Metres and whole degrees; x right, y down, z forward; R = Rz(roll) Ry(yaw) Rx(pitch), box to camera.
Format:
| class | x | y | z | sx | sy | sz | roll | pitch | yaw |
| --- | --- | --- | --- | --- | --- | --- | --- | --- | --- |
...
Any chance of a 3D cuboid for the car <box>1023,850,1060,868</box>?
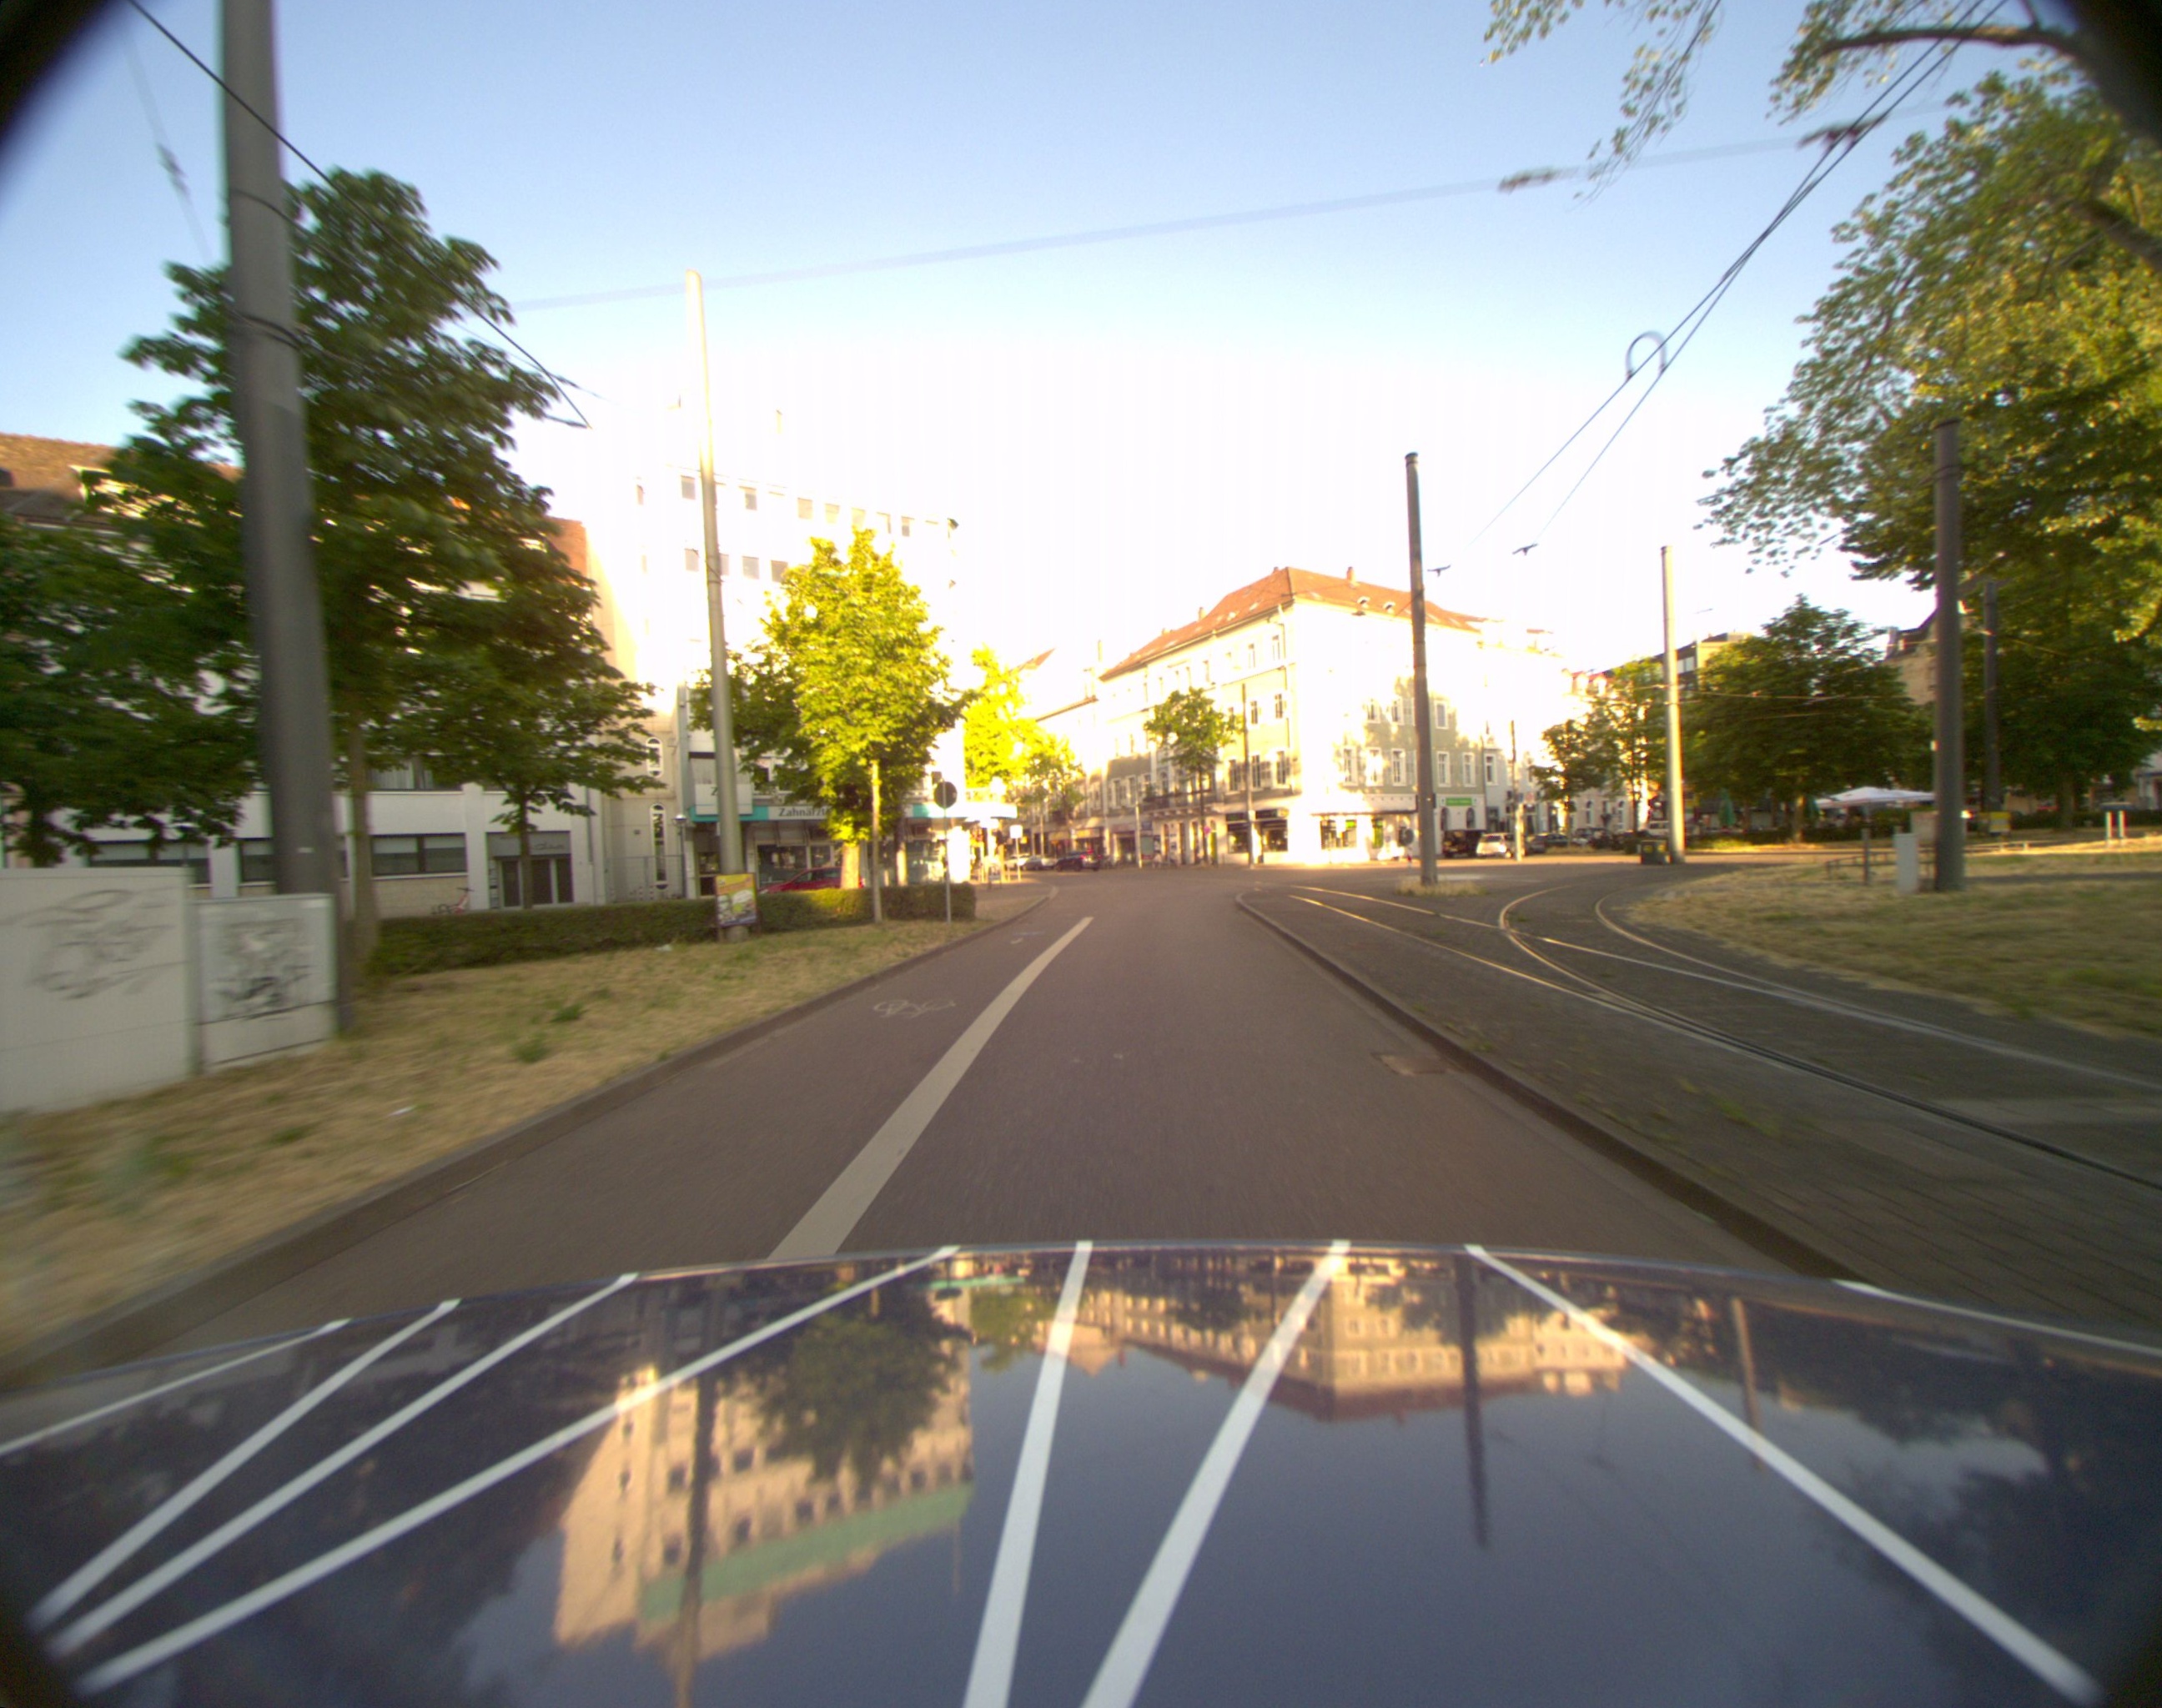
| class | x | y | z | sx | sy | sz | roll | pitch | yaw |
| --- | --- | --- | --- | --- | --- | --- | --- | --- | --- |
| car | -3.716 | 0.474 | 71.448 | 1.727 | 1.543 | 3.959 | -3 | 0 | -31 |

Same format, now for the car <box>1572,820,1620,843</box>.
| class | x | y | z | sx | sy | sz | roll | pitch | yaw |
| --- | --- | --- | --- | --- | --- | --- | --- | --- | --- |
| car | 41.633 | -1.848 | 61.410 | 4.006 | 1.696 | 1.855 | -3 | 0 | -35 |

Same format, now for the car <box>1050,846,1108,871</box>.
| class | x | y | z | sx | sy | sz | roll | pitch | yaw |
| --- | --- | --- | --- | --- | --- | --- | --- | --- | --- |
| car | -0.224 | 0.384 | 58.771 | 2.003 | 1.673 | 4.732 | -3 | 0 | -37 |

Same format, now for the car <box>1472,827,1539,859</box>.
| class | x | y | z | sx | sy | sz | roll | pitch | yaw |
| --- | --- | --- | --- | --- | --- | --- | --- | --- | --- |
| car | 25.459 | -0.687 | 45.520 | 4.006 | 1.696 | 1.855 | -3 | 0 | -35 |

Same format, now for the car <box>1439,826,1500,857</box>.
| class | x | y | z | sx | sy | sz | roll | pitch | yaw |
| --- | --- | --- | --- | --- | --- | --- | --- | --- | --- |
| car | 26.544 | -0.852 | 51.933 | 4.006 | 1.892 | 1.995 | -3 | 0 | -35 |

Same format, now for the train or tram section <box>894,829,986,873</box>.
| class | x | y | z | sx | sy | sz | roll | pitch | yaw |
| --- | --- | --- | --- | --- | --- | --- | --- | --- | --- |
| train or tram section | -13.314 | -0.212 | 70.305 | 2.955 | 3.564 | 13.333 | -4 | 2 | -35 |

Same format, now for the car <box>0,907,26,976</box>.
| class | x | y | z | sx | sy | sz | roll | pitch | yaw |
| --- | --- | --- | --- | --- | --- | --- | --- | --- | --- |
| car | -29.028 | 2.294 | 18.186 | 4.019 | 1.714 | 1.698 | -3 | 0 | -31 |

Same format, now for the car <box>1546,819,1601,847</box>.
| class | x | y | z | sx | sy | sz | roll | pitch | yaw |
| --- | --- | --- | --- | --- | --- | --- | --- | --- | --- |
| car | 36.627 | -1.568 | 56.434 | 4.006 | 1.892 | 1.995 | -3 | 0 | -35 |

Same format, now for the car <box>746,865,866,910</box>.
| class | x | y | z | sx | sy | sz | roll | pitch | yaw |
| --- | --- | --- | --- | --- | --- | --- | --- | --- | --- |
| car | -10.717 | 1.284 | 29.690 | 4.006 | 1.441 | 1.844 | -3 | 0 | -33 |

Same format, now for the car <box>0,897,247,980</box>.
| class | x | y | z | sx | sy | sz | roll | pitch | yaw |
| --- | --- | --- | --- | --- | --- | --- | --- | --- | --- |
| car | -22.110 | 1.864 | 16.948 | 4.330 | 1.402 | 1.801 | -3 | 2 | -33 |

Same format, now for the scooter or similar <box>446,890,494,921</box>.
| class | x | y | z | sx | sy | sz | roll | pitch | yaw |
| --- | --- | --- | --- | --- | --- | --- | --- | --- | --- |
| scooter or similar | -21.642 | 1.814 | 26.923 | 1.182 | 1.026 | 0.488 | -3 | 0 | -12 |

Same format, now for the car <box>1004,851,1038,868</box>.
| class | x | y | z | sx | sy | sz | roll | pitch | yaw |
| --- | --- | --- | --- | --- | --- | --- | --- | --- | --- |
| car | -6.052 | 0.554 | 76.198 | 1.805 | 1.543 | 3.959 | -3 | 0 | -31 |

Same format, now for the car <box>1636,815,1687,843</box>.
| class | x | y | z | sx | sy | sz | roll | pitch | yaw |
| --- | --- | --- | --- | --- | --- | --- | --- | --- | --- |
| car | 44.015 | -1.900 | 57.587 | 4.006 | 1.987 | 1.855 | -3 | 0 | -35 |
